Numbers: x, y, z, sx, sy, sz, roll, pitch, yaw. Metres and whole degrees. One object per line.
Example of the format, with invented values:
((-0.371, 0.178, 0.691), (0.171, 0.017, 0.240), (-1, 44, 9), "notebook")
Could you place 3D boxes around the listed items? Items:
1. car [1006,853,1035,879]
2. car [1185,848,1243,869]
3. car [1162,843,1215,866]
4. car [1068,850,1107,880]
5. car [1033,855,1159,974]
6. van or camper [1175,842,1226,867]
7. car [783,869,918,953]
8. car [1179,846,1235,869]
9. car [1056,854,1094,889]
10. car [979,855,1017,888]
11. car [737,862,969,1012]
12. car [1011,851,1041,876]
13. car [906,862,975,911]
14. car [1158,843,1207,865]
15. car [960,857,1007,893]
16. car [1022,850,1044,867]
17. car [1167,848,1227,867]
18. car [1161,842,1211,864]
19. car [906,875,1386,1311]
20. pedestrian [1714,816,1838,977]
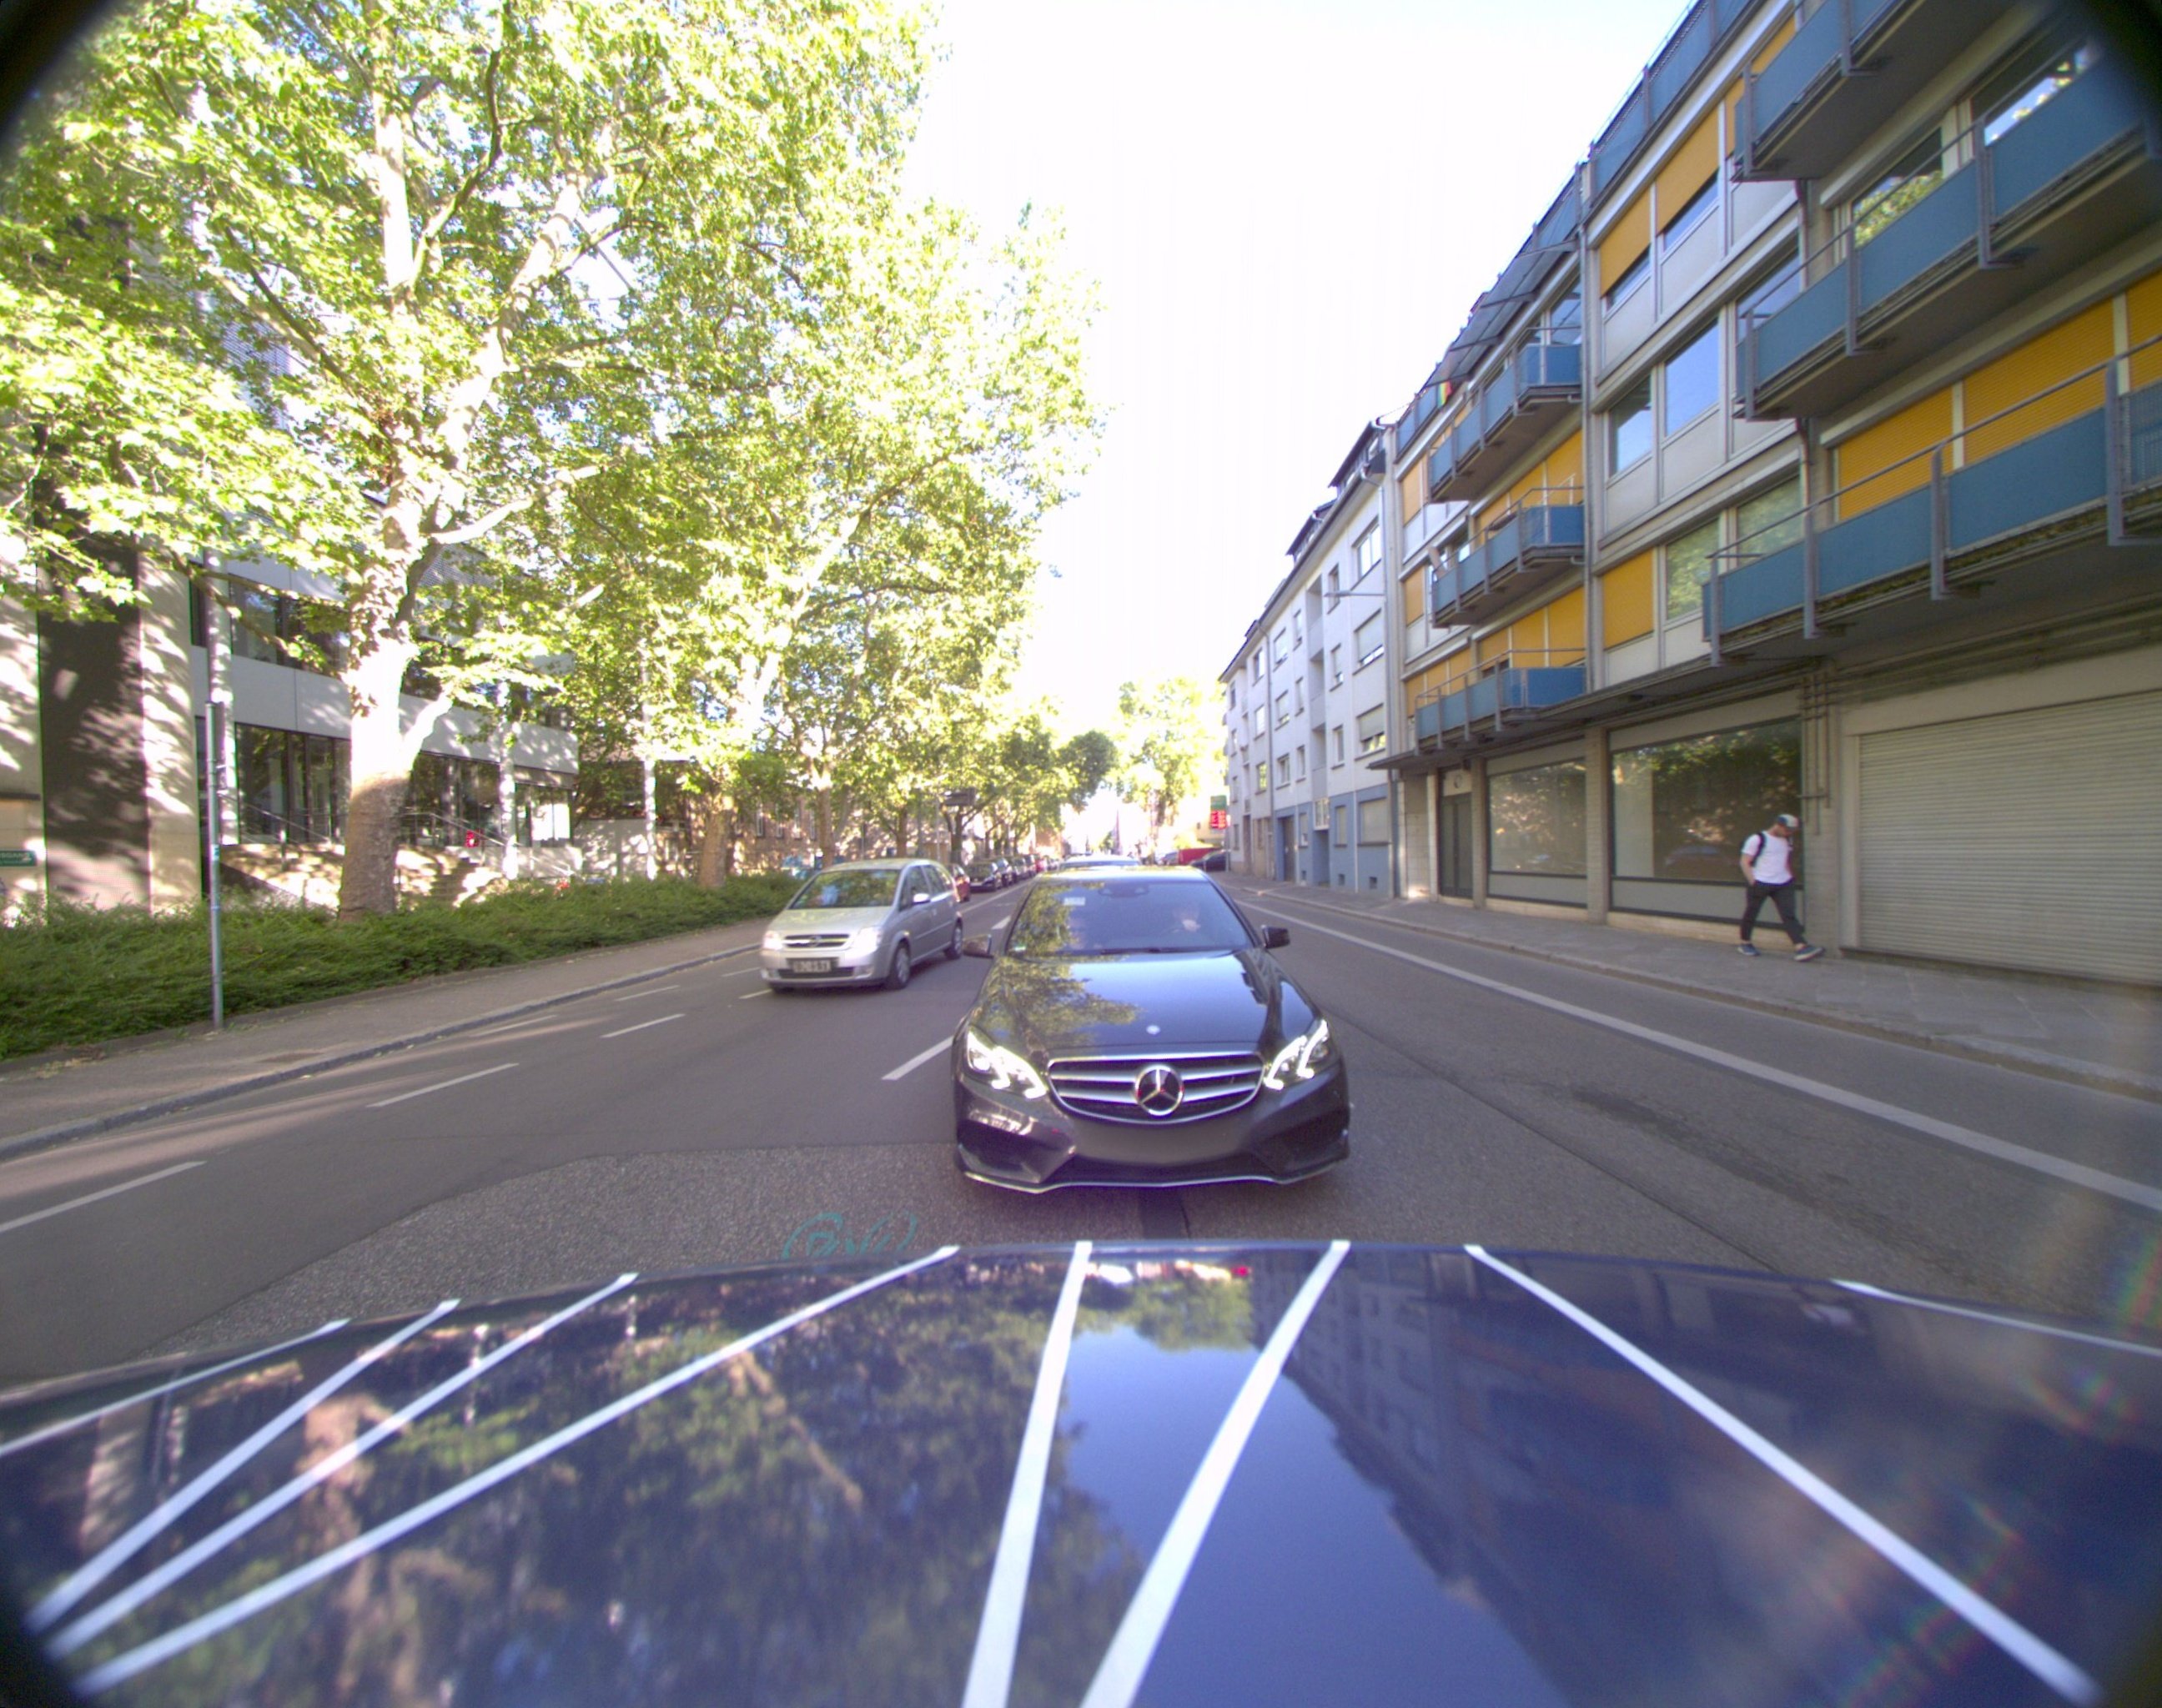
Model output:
((-4.409, 0.863, 55.952), (1.741, 1.785, 3.895), (-2, 0, 0), "car")
((10.312, 0.322, 58.958), (4.146, 1.486, 2.000), (-2, 0, 1), "car")
((10.911, 0.024, 77.336), (4.991, 2.181, 2.000), (-2, 1, 1), "car")
((0.460, 0.670, 49.440), (1.784, 1.760, 4.387), (-4, 0, 9), "car")
((0.240, 0.847, 12.849), (1.646, 1.520, 4.619), (-4, 0, 1), "car")
((10.056, 0.022, 64.195), (3.997, 2.002, 2.000), (-2, 1, 0), "van or camper")
((-5.200, 1.213, 17.761), (1.830, 1.519, 4.142), (-4, 0, 0), "car")
((10.135, 0.267, 61.289), (4.146, 1.681, 2.000), (-2, 0, 1), "car")
((-0.215, 0.775, 35.542), (1.648, 1.473, 3.976), (-1, 0, 1), "car")
((-4.575, 0.913, 42.301), (1.634, 1.677, 3.907), (-2, 0, 0), "car")
((-2.849, 0.958, 10.458), (1.705, 1.593, 3.860), (-2, 0, 5), "car")
((-4.279, 0.720, 59.595), (1.992, 1.795, 4.376), (-2, 0, 0), "car")
((-5.031, 1.116, 27.690), (1.681, 1.484, 3.918), (-4, 0, 0), "car")
((11.034, -0.010, 82.819), (4.991, 2.181, 2.000), (-2, 1, 1), "car")
((-4.761, 0.984, 37.492), (1.741, 1.622, 4.091), (-2, 0, 0), "car")
((-4.386, 0.435, 70.441), (1.741, 1.469, 4.091), (-2, 0, 0), "car")
((10.158, 0.283, 66.698), (4.990, 1.486, 2.000), (-2, 0, 1), "car")
((11.031, -0.103, 80.187), (4.991, 2.181, 2.000), (-2, 1, 1), "car")
((0.239, 0.941, 4.753), (1.740, 1.448, 3.864), (-2, 0, 0), "car")
((8.261, 0.483, 9.066), (0.601, 1.790, 0.879), (-3, 1, 1), "pedestrian")
